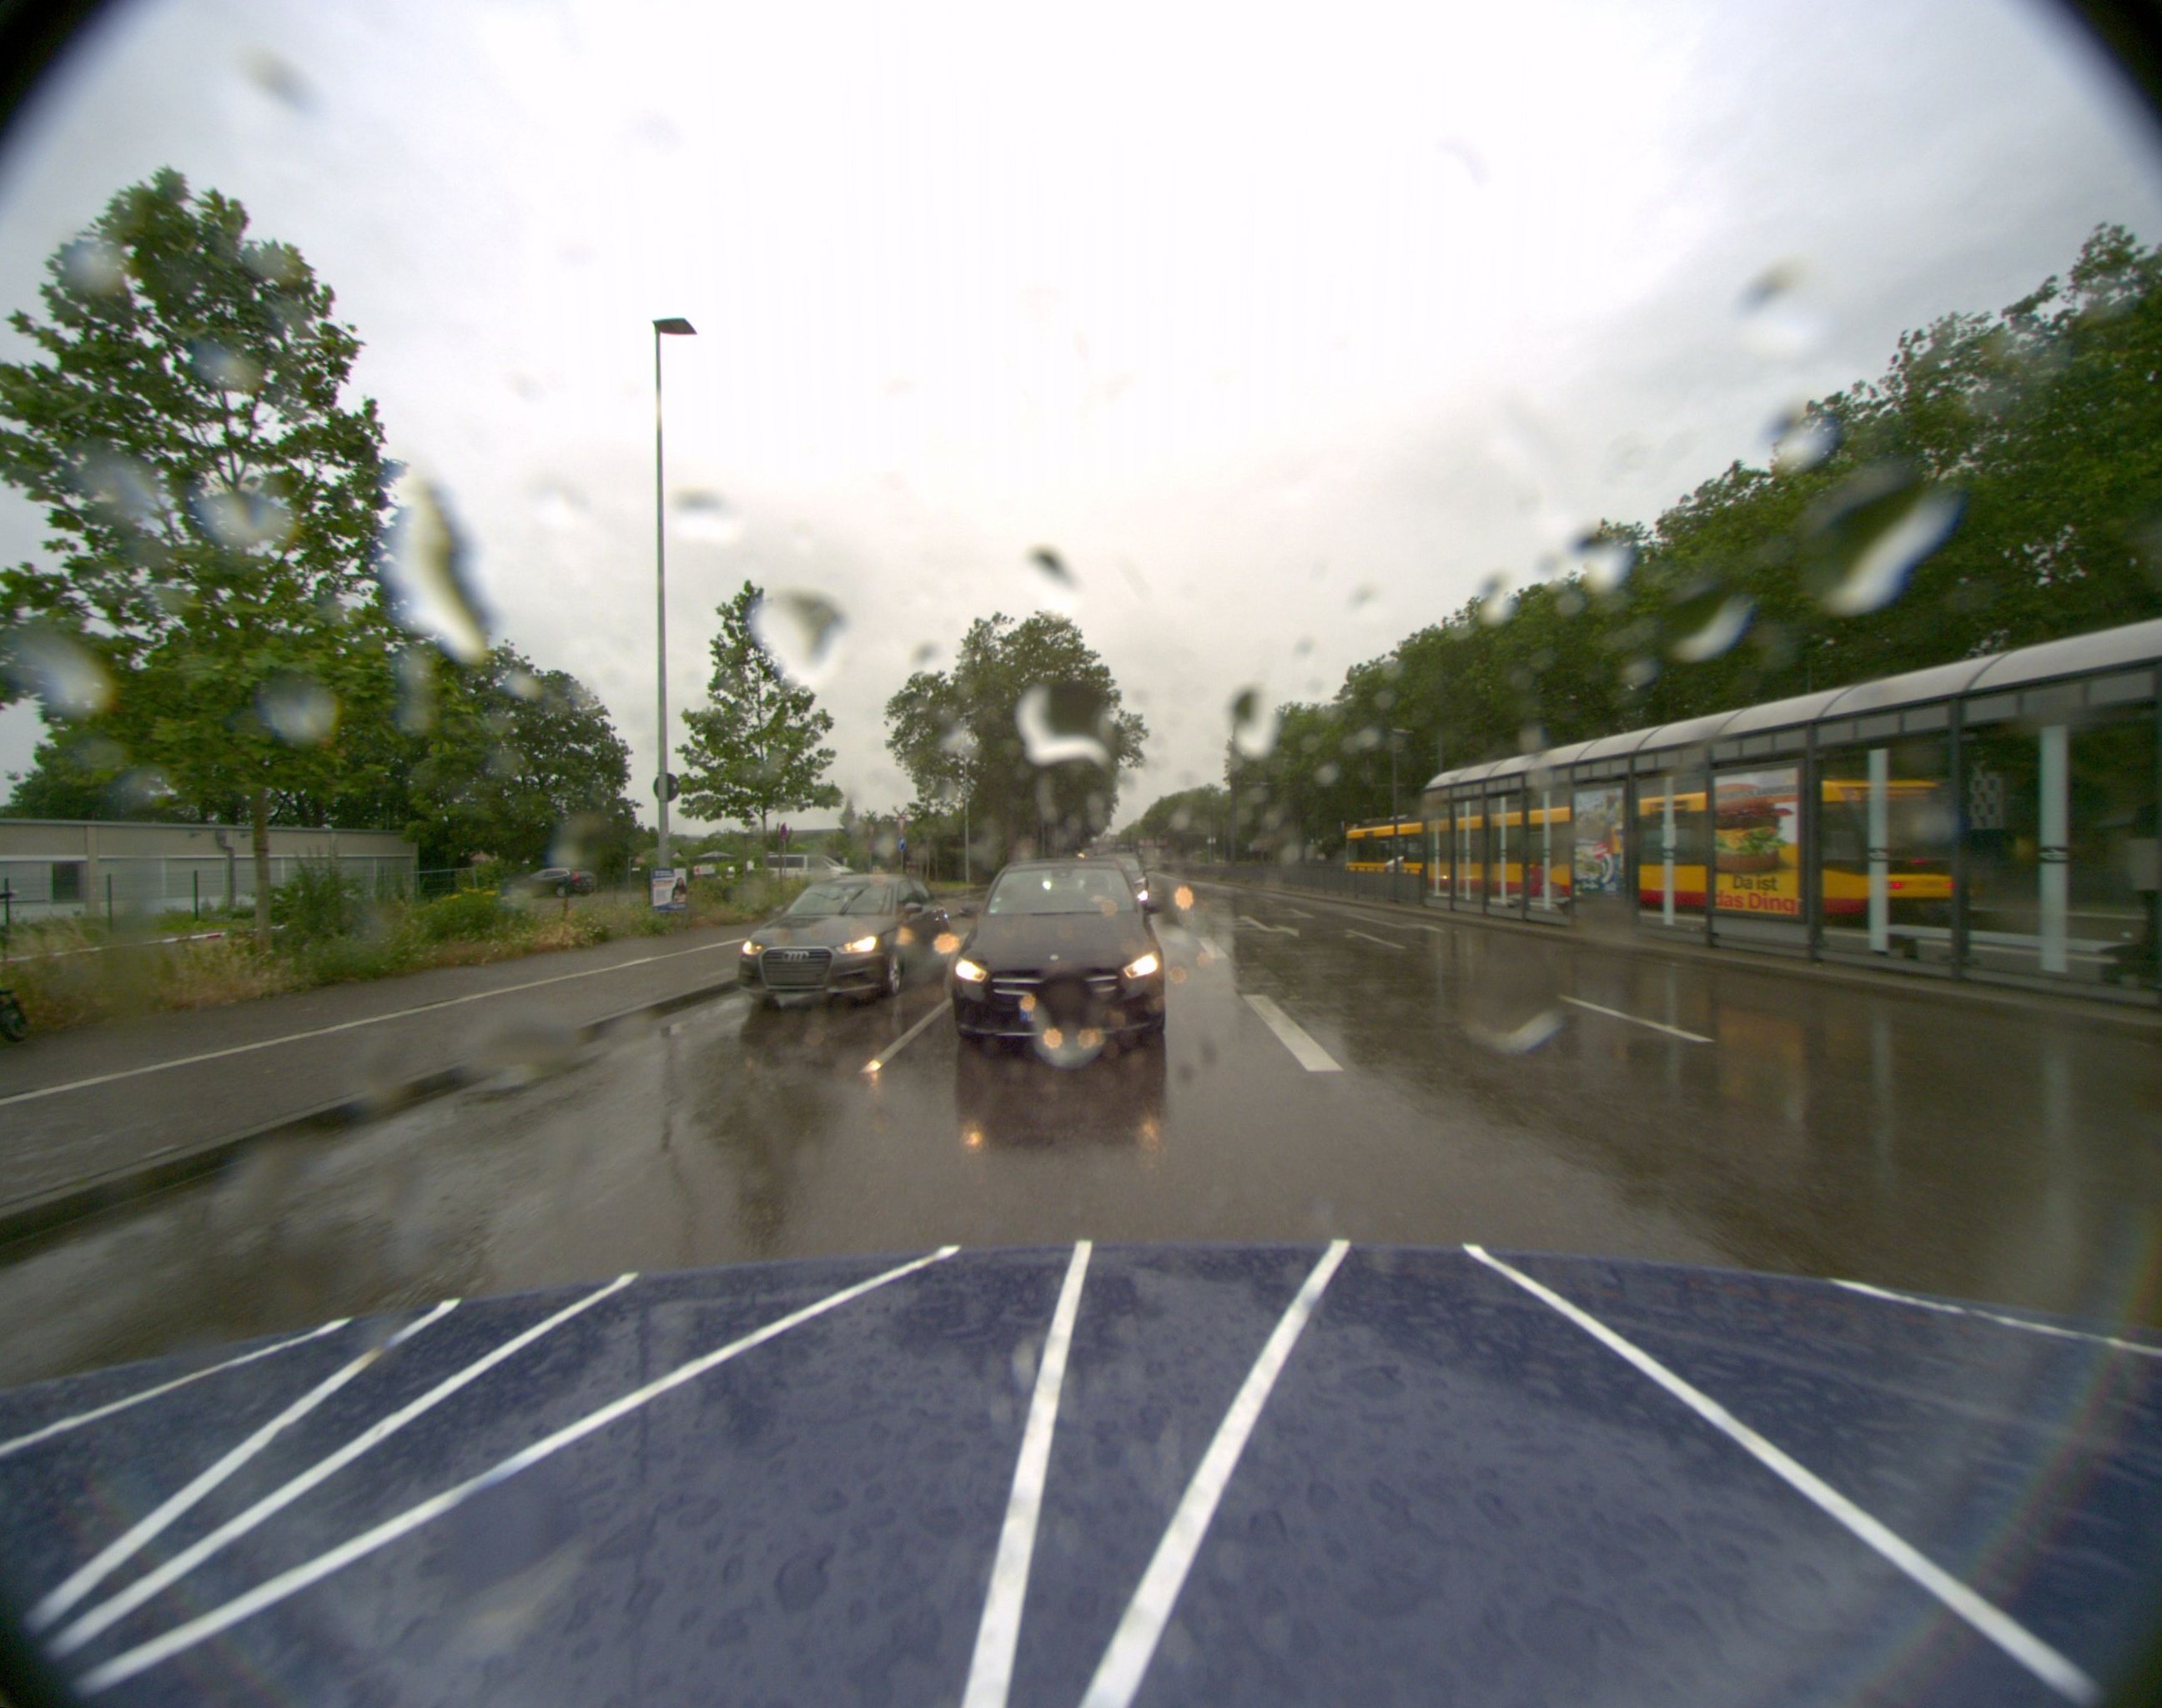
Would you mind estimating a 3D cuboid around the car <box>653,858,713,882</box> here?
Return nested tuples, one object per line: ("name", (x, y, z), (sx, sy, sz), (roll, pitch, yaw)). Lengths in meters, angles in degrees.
("car", (-28.509, 1.134, 54.434), (3.552, 1.575, 1.345), (-2, 1, 5))

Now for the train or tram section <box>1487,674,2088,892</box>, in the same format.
("train or tram section", (16.424, -1.363, 20.460), (3.751, 3.817, 13.252), (-2, 1, 0))

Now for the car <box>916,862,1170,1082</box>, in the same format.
("car", (-0.066, 0.911, 7.745), (1.757, 1.572, 4.172), (-2, 0, 8))

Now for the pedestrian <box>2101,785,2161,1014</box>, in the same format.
("pedestrian", (9.117, 0.360, 6.167), (0.655, 1.860, 0.773), (-2, 1, 16))

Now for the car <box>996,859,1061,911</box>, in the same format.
("car", (-1.679, 0.973, 25.686), (1.706, 1.499, 3.879), (-2, 1, 3))

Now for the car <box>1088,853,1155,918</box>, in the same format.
("car", (1.066, 0.792, 20.960), (1.689, 1.611, 4.000), (0, 0, 2))

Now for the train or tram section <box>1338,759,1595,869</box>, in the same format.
("train or tram section", (16.416, -1.521, 34.938), (3.751, 3.777, 15.569), (-2, 1, 0))

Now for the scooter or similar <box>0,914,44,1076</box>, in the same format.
("scooter or similar", (-8.333, 1.077, 4.956), (0.367, 1.192, 1.913), (-2, 1, 4))

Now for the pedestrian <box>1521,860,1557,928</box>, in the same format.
("pedestrian", (8.502, 0.741, 14.113), (0.458, 1.229, 0.467), (-1, 2, 15))

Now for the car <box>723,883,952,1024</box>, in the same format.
("car", (-2.853, 1.102, 9.748), (1.601, 1.358, 3.632), (0, 0, 3))

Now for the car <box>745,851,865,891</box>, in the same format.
("car", (-13.581, 0.793, 37.627), (5.174, 1.715, 2.006), (-2, 1, -1))
